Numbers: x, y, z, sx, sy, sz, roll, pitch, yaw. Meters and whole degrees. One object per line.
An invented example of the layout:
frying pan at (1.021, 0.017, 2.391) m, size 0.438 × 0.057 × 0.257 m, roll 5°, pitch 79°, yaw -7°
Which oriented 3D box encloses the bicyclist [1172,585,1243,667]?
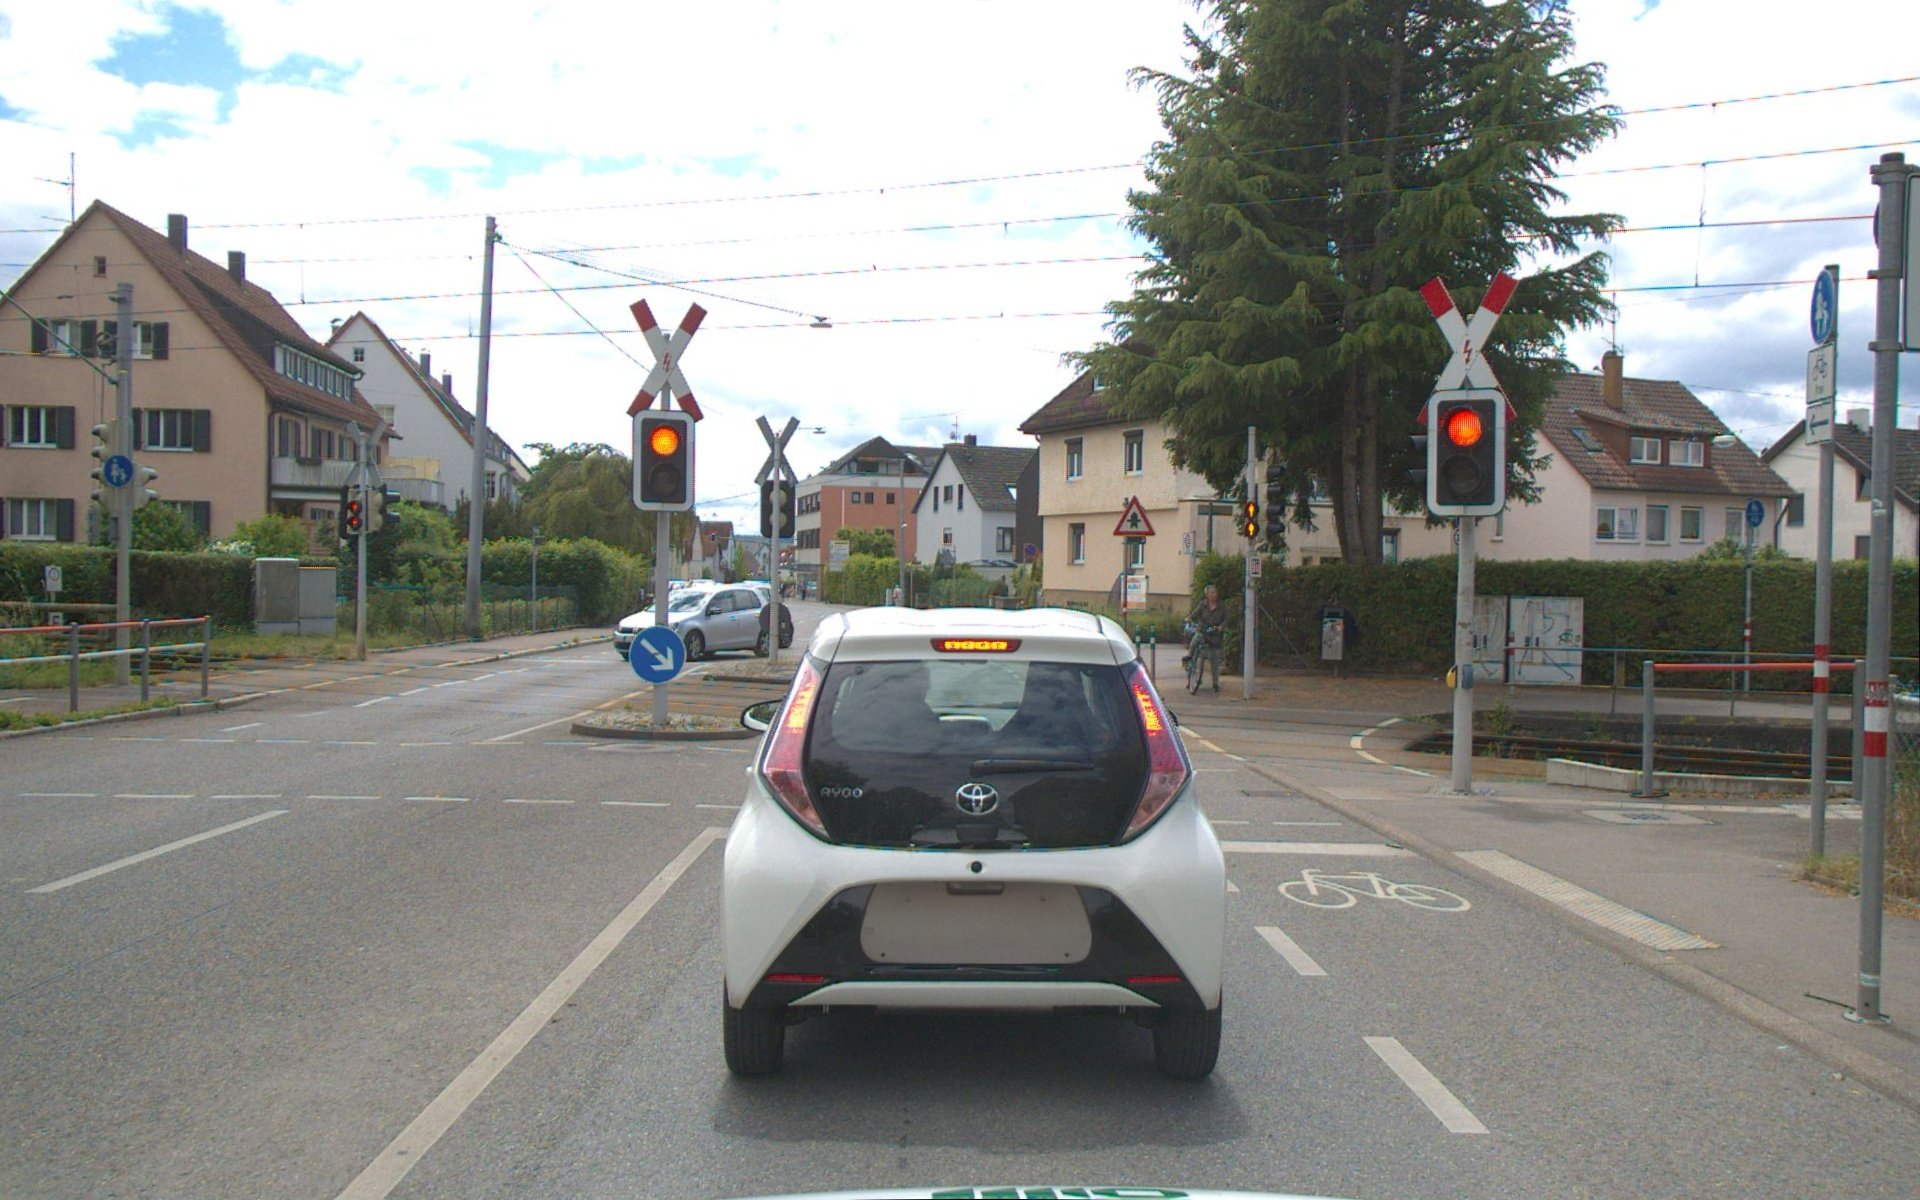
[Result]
bicyclist at (3.948, 0.404, 26.301) m, size 0.912 × 1.269 × 1.102 m, roll 0°, pitch 0°, yaw 21°

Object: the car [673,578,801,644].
car at (-5.444, 0.288, 40.506) m, size 1.551 × 1.536 × 2.772 m, roll 1°, pitch 0°, yaw 41°

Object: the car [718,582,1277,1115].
car at (0.083, 0.721, 6.734) m, size 1.588 × 1.512 × 3.999 m, roll 1°, pitch 0°, yaw -1°

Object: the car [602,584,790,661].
car at (-5.407, 0.451, 34.376) m, size 1.657 × 1.484 × 4.061 m, roll 1°, pitch 0°, yaw 30°

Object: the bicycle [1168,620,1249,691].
bicycle at (3.981, 0.860, 26.392) m, size 0.912 × 1.058 × 1.915 m, roll 0°, pitch 0°, yaw 20°

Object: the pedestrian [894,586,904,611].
pedestrian at (-3.704, -0.092, 100.668) m, size 0.407 × 1.463 × 0.435 m, roll 2°, pitch 1°, yaw 39°

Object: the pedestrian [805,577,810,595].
pedestrian at (-13.095, -1.202, 142.202) m, size 0.406 × 1.463 × 0.436 m, roll 1°, pitch 0°, yaw -11°
